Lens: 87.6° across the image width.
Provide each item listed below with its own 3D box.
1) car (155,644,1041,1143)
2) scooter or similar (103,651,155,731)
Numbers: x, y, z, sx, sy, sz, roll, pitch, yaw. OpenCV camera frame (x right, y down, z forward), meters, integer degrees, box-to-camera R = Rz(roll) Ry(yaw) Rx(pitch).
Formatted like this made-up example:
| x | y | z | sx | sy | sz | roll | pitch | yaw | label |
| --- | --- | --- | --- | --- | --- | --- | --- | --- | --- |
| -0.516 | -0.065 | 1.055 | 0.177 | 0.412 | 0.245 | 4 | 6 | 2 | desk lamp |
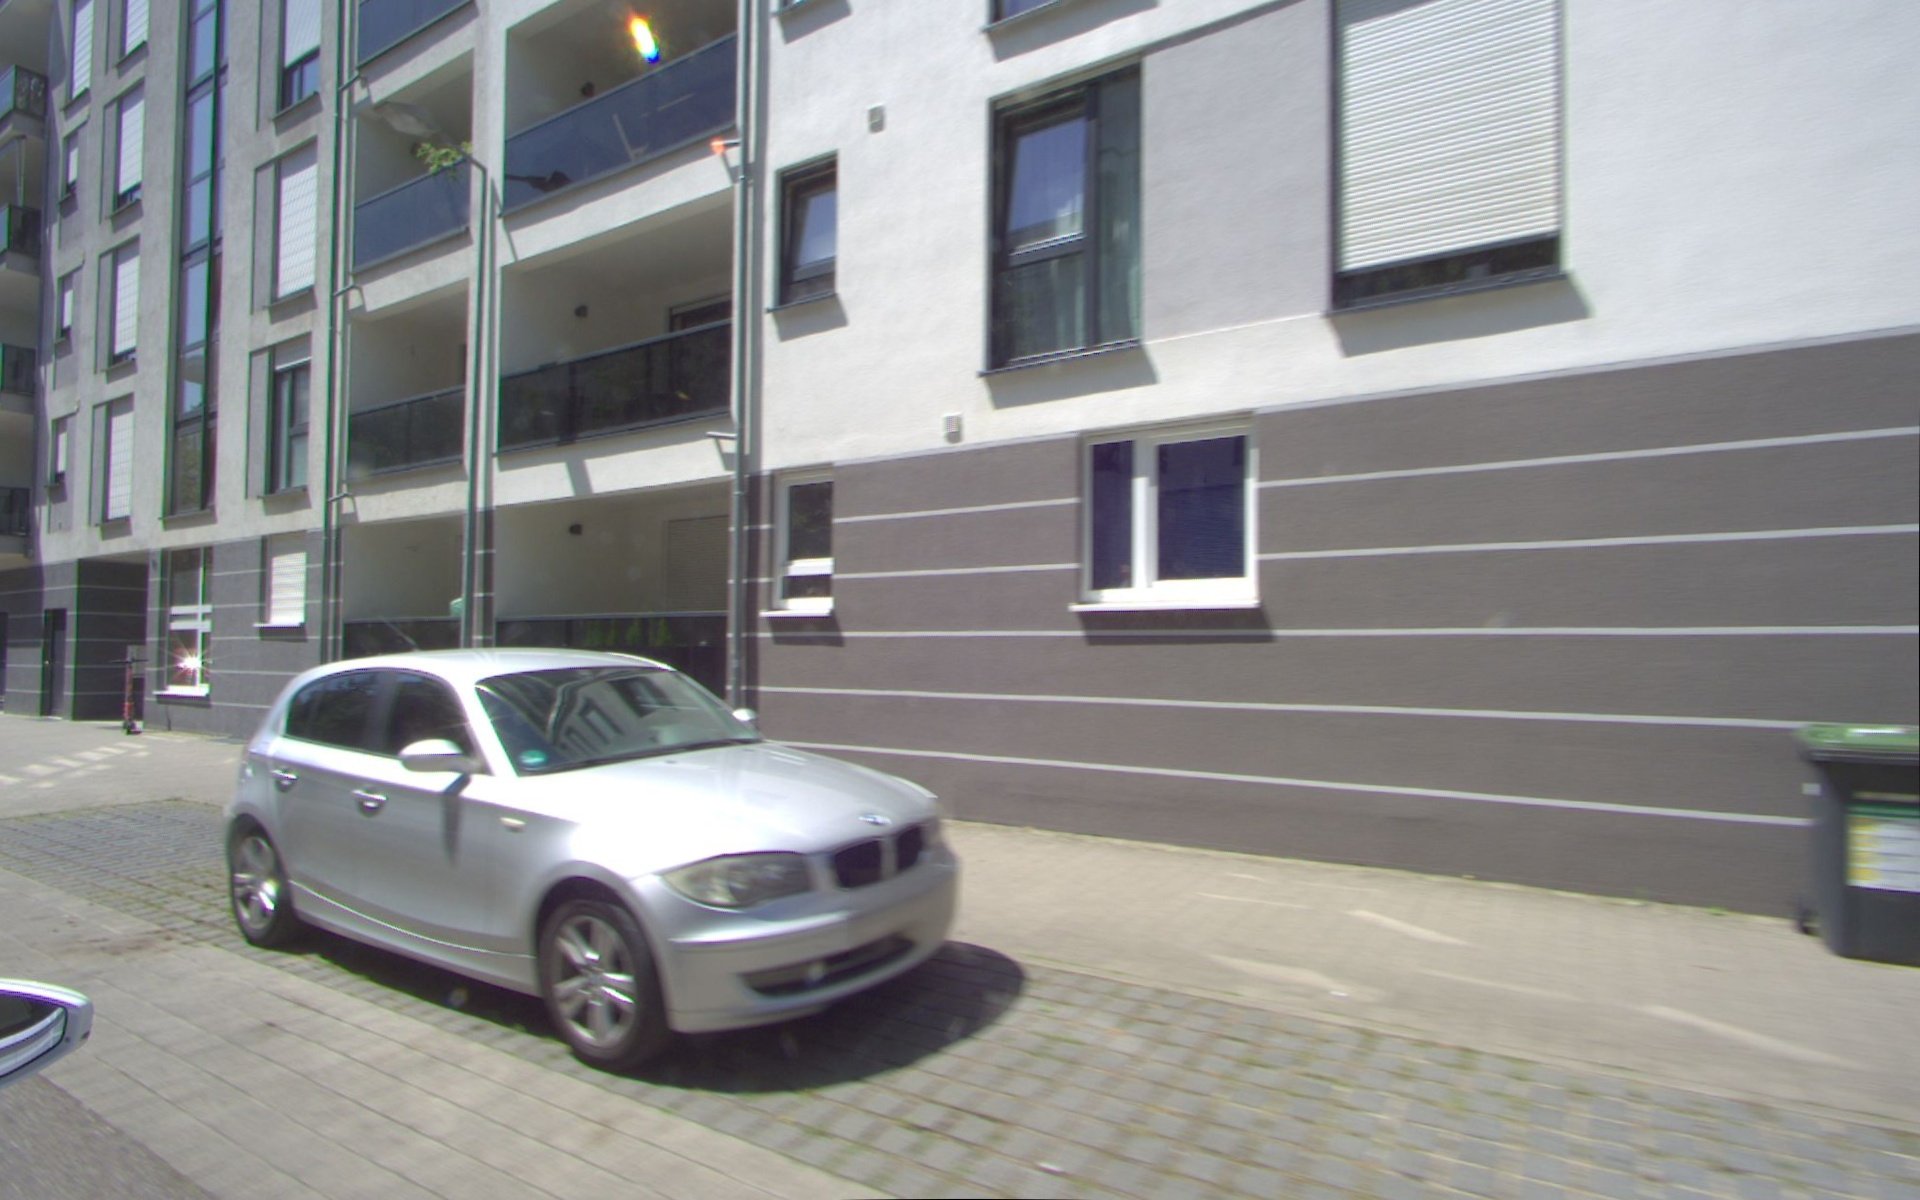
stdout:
| x | y | z | sx | sy | sz | roll | pitch | yaw | label |
| --- | --- | --- | --- | --- | --- | --- | --- | --- | --- |
| -1.956 | 0.949 | 4.900 | 4.365 | 1.433 | 1.842 | -2 | -4 | 34 | car |
| -13.703 | 1.477 | 16.507 | 0.542 | 1.240 | 1.515 | 4 | -4 | -42 | scooter or similar |
